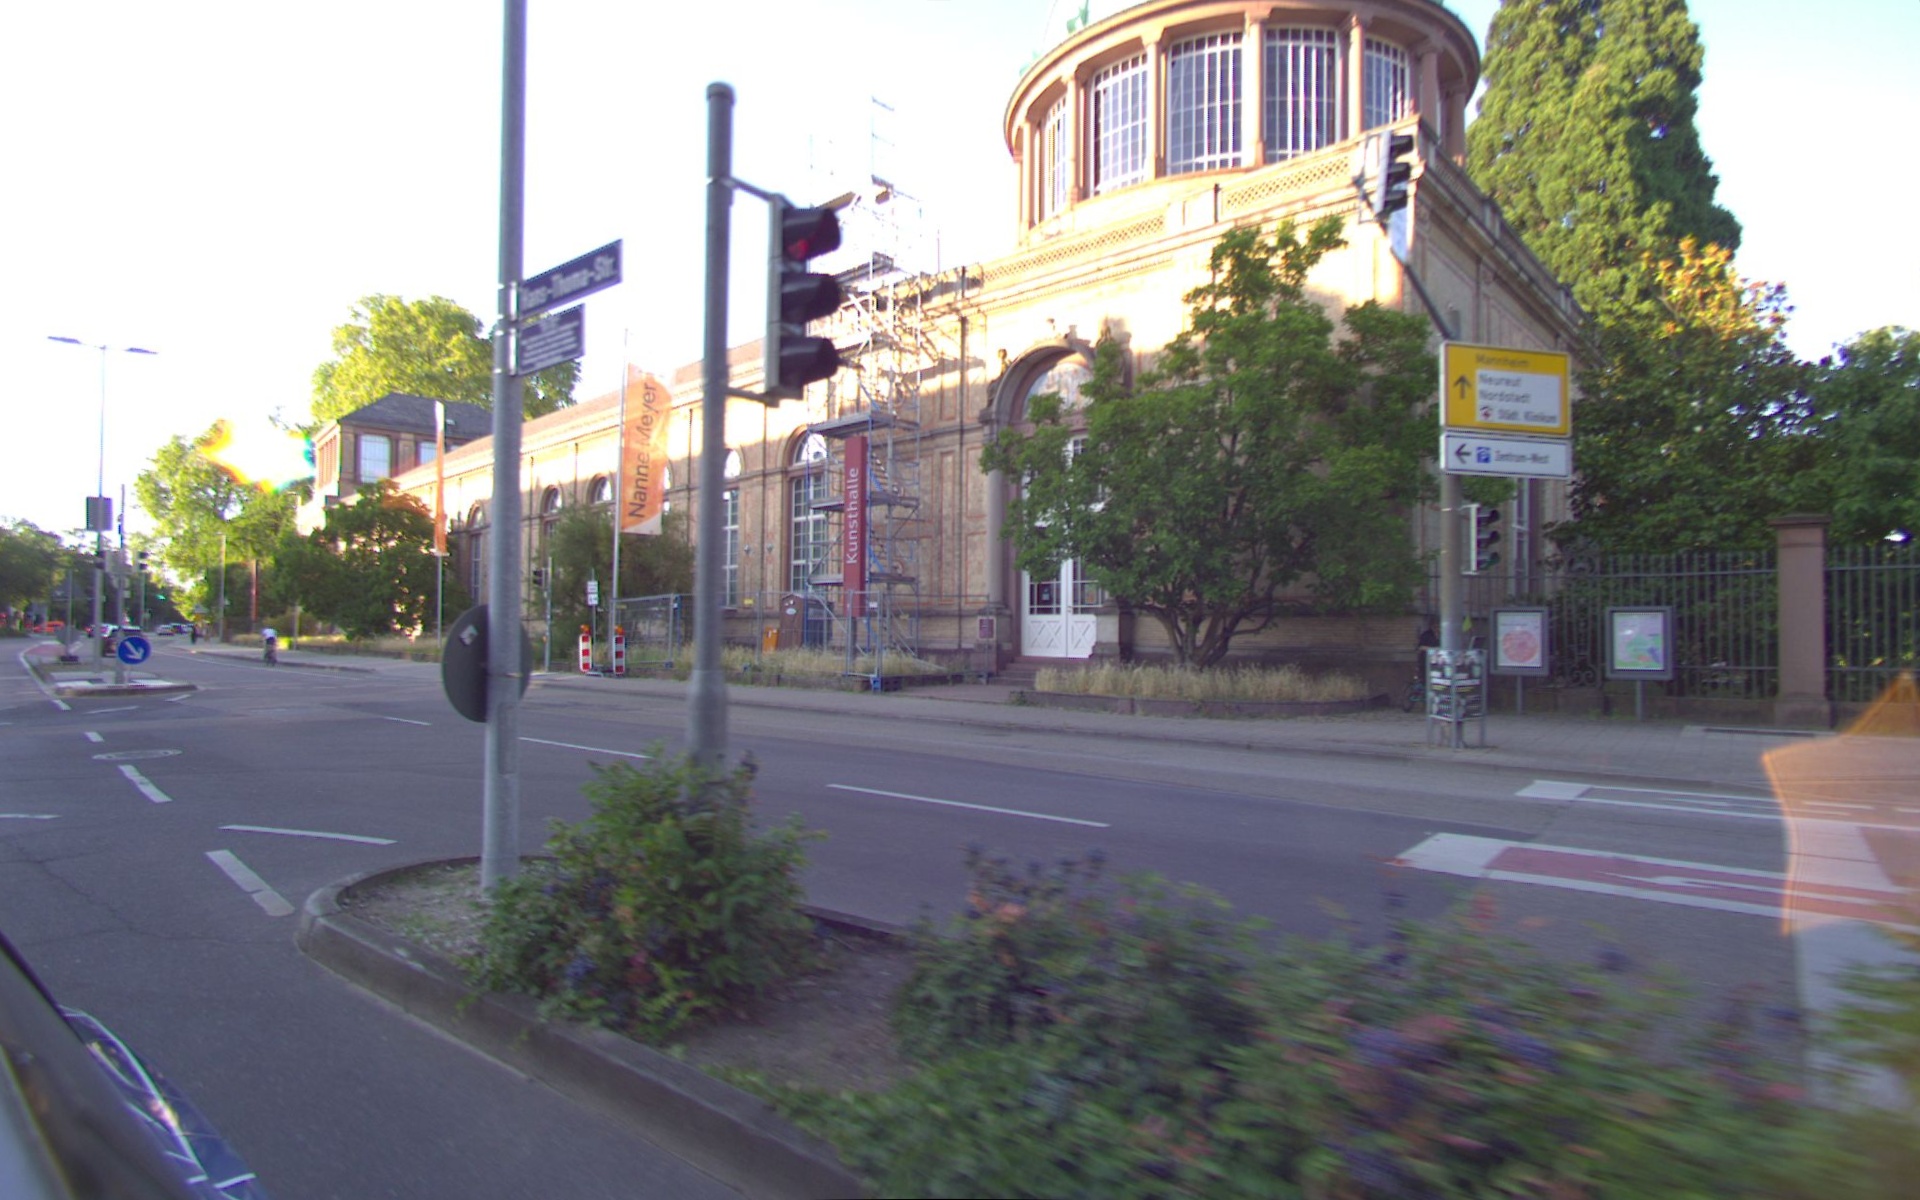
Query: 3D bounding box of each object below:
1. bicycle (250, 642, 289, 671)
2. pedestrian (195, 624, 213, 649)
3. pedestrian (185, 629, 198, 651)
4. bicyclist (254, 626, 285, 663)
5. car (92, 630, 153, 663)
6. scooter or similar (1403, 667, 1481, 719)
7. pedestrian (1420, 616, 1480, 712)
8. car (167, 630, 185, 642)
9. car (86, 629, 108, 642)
[{"bbox_3d":[-27.734,2.259,40.661,1.931,1.099,0.746,-1,-4,40],"label":"bicycle"},{"bbox_3d":[-54.792,2.635,73.355,0.795,1.751,0.852,1,-2,-19],"label":"pedestrian"},{"bbox_3d":[-55.240,2.844,72.777,0.665,1.524,0.837,-3,-1,-38],"label":"pedestrian"},{"bbox_3d":[-27.759,1.789,40.707,0.936,1.471,0.739,-1,-4,40],"label":"bicyclist"},{"bbox_3d":[-40.210,2.214,48.576,4.429,1.519,1.802,-2,-3,45],"label":"car"},{"bbox_3d":[7.951,1.516,16.701,1.028,0.783,0.671,-1,-3,39],"label":"scooter or similar"},{"bbox_3d":[8.417,1.078,17.380,0.762,1.591,0.728,-2,-3,40],"label":"pedestrian"},{"bbox_3d":[-112.628,5.176,145.394,1.891,1.697,4.009,2,-2,-36],"label":"car"},{"bbox_3d":[-98.572,4.042,115.587,1.749,1.475,4.007,4,-4,-39],"label":"car"}]
